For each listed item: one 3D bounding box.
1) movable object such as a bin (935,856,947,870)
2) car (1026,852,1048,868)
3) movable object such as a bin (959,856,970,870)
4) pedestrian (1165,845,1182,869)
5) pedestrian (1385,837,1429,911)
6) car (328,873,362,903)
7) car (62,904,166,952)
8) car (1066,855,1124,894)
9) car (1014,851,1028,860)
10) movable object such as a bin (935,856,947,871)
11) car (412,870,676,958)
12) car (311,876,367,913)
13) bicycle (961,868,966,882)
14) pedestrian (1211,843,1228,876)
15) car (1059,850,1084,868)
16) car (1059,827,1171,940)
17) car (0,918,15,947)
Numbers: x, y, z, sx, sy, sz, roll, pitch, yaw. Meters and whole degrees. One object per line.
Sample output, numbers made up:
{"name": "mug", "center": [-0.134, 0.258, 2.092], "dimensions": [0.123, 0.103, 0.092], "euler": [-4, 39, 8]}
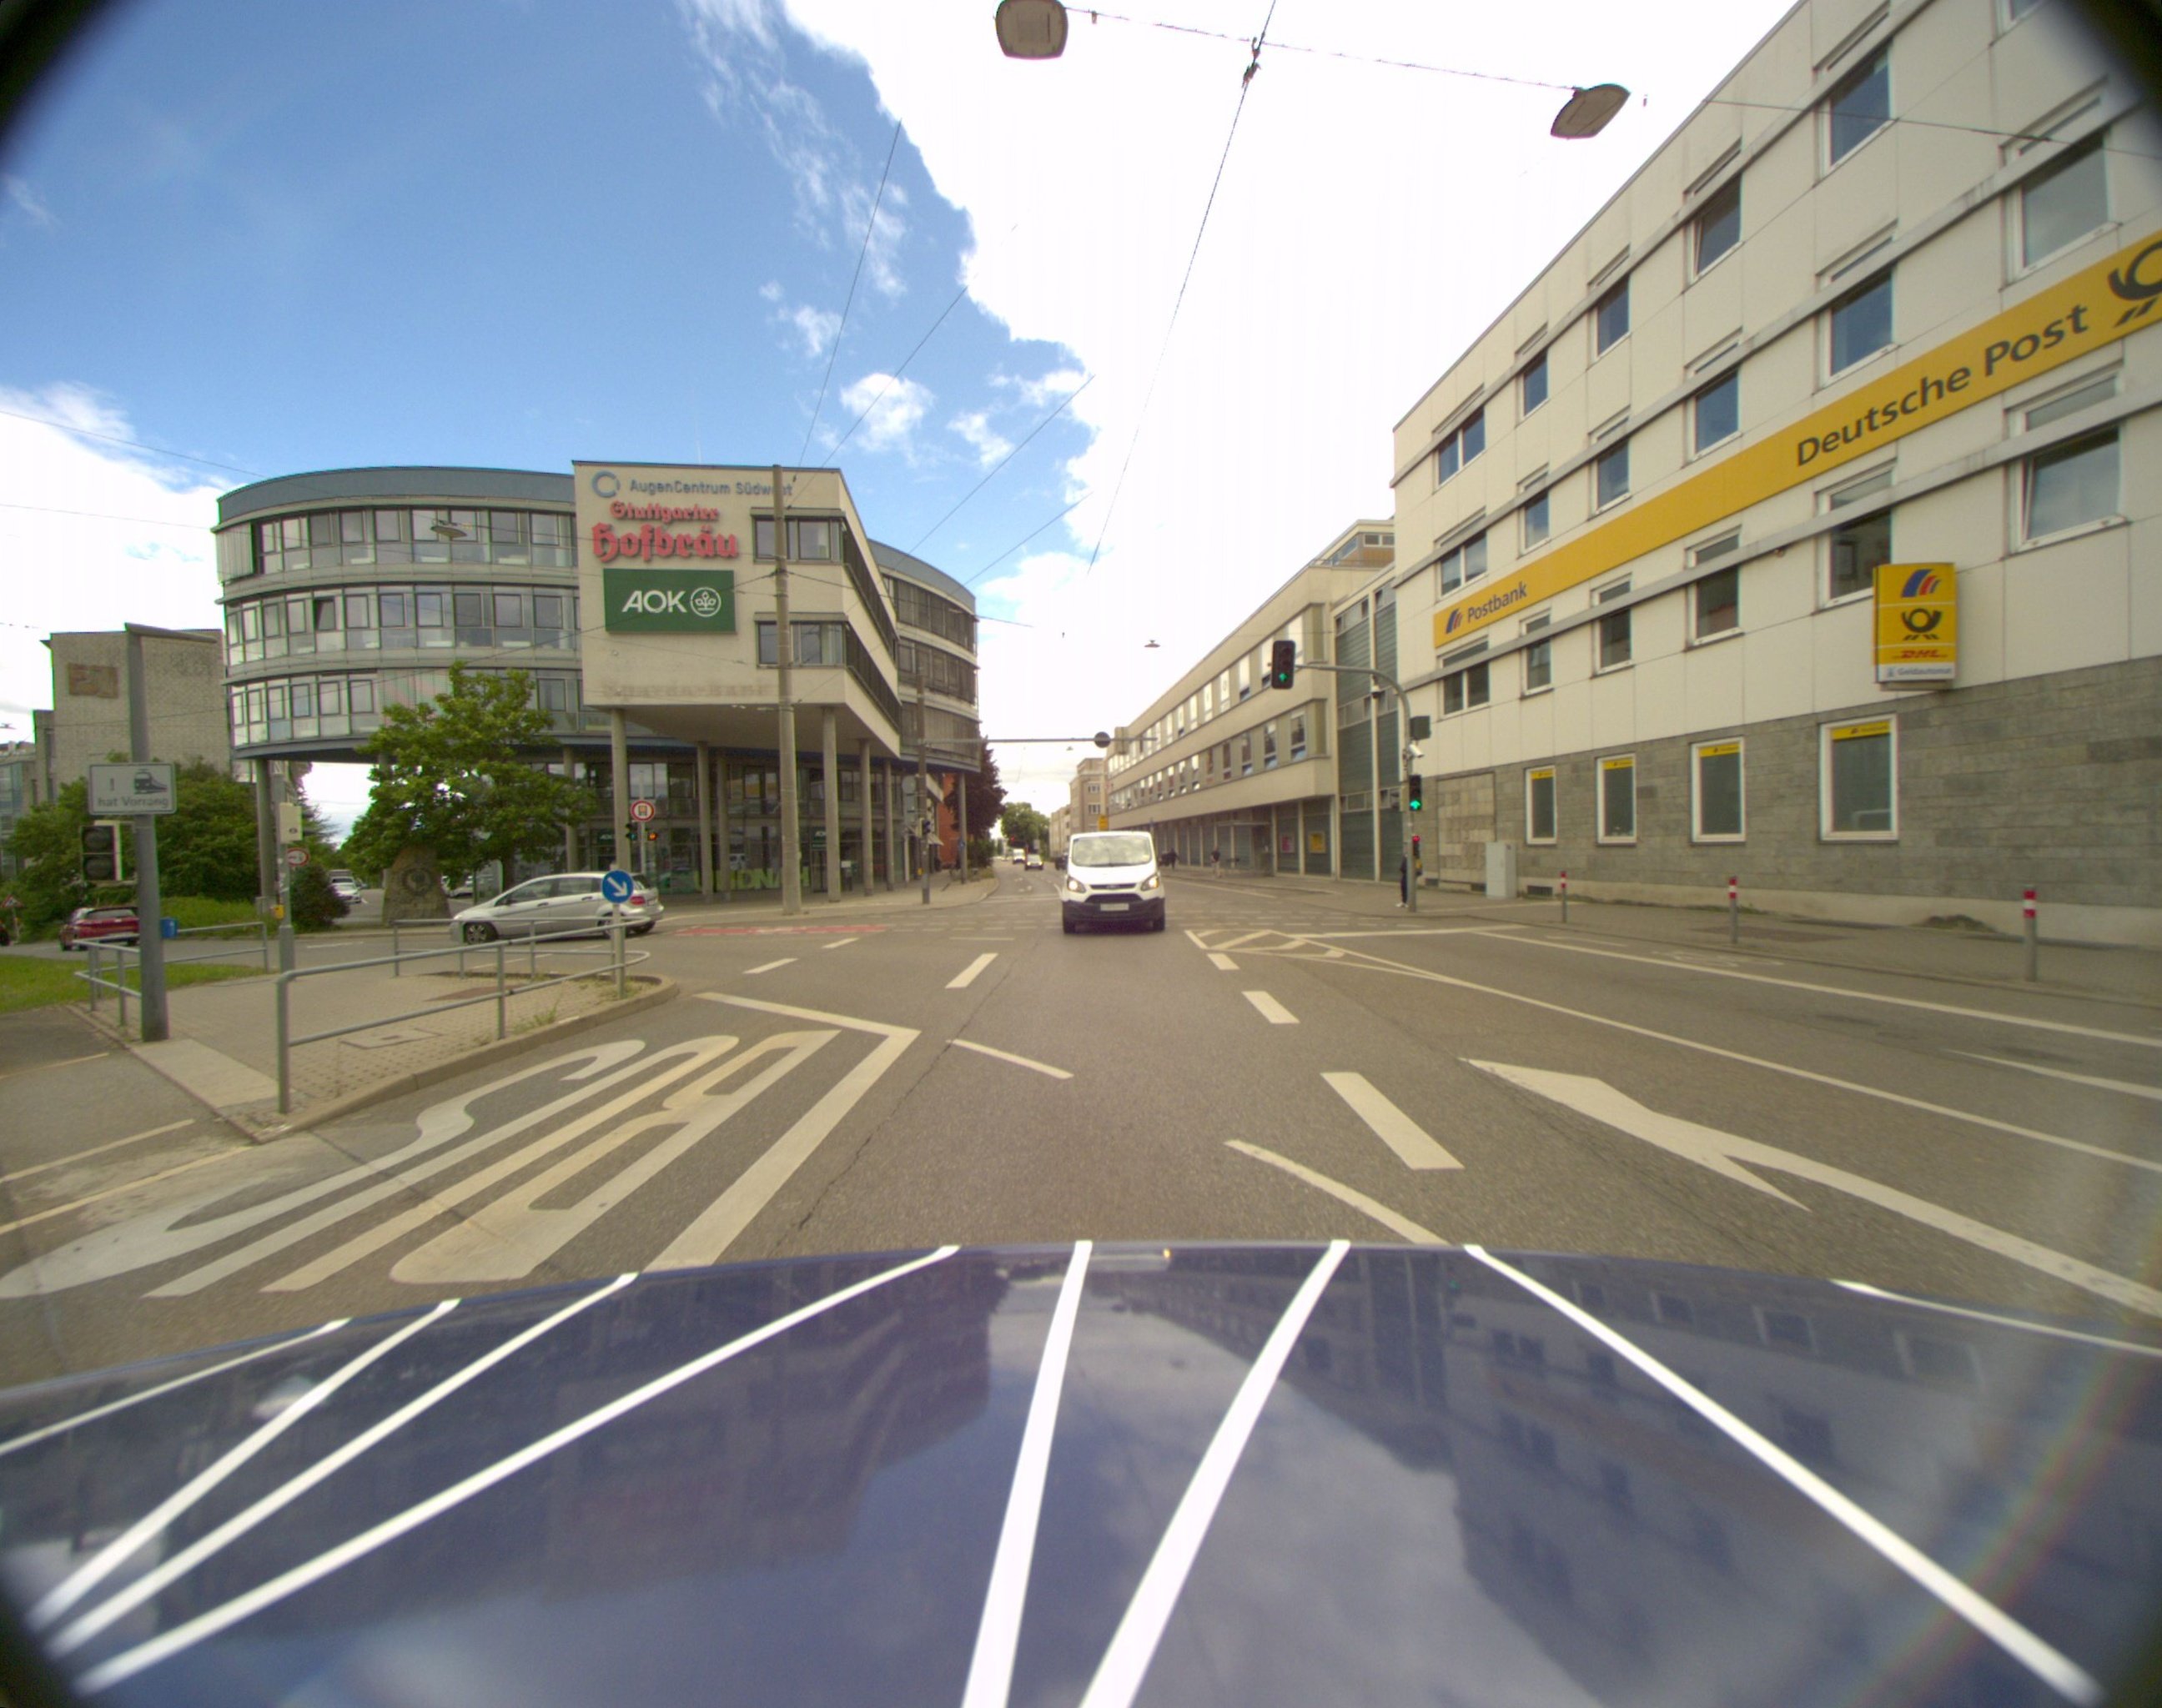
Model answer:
{"name": "movable object such as a bin", "center": [-14.226, 0.926, 77.328], "dimensions": [1.125, 1.457, 1.332], "euler": [0, 1, -8]}
{"name": "car", "center": [-4.488, 0.607, 77.122], "dimensions": [1.965, 1.517, 4.569], "euler": [-2, 0, -5]}
{"name": "movable object such as a bin", "center": [-12.163, 0.894, 79.167], "dimensions": [1.131, 1.457, 1.411], "euler": [0, 1, -8]}
{"name": "pedestrian", "center": [6.801, 0.223, 55.876], "dimensions": [0.864, 1.708, 1.031], "euler": [-3, 1, -8]}
{"name": "pedestrian", "center": [7.842, 0.473, 18.282], "dimensions": [0.649, 1.708, 0.783], "euler": [-3, 1, 1]}
{"name": "car", "center": [-76.056, 3.467, 78.520], "dimensions": [6.091, 2.814, 2.170], "euler": [-2, 1, 43]}
{"name": "car", "center": [-34.534, 2.636, 27.113], "dimensions": [3.990, 1.444, 1.707], "euler": [-4, 0, 31]}
{"name": "car", "center": [0.524, 0.825, 32.830], "dimensions": [1.965, 1.517, 4.569], "euler": [-2, 0, -5]}
{"name": "car", "center": [-10.390, 0.231, 131.416], "dimensions": [1.966, 1.517, 4.568], "euler": [-2, 0, -9]}
{"name": "movable object such as a bin", "center": [-14.027, 0.935, 75.983], "dimensions": [1.101, 1.457, 1.332], "euler": [0, 1, -8]}
{"name": "car", "center": [-12.463, 1.338, 17.988], "dimensions": [4.571, 1.537, 1.998], "euler": [-4, 1, -11]}
{"name": "car", "center": [-52.542, 2.848, 53.751], "dimensions": [6.091, 2.378, 2.170], "euler": [-2, 1, 40]}
{"name": "bicycle", "center": [-9.908, 1.796, 63.899], "dimensions": [0.362, 1.080, 2.025], "euler": [-3, 1, -8]}
{"name": "pedestrian", "center": [7.392, 0.300, 40.589], "dimensions": [0.591, 1.708, 1.054], "euler": [-2, 1, -8]}
{"name": "car", "center": [-0.915, 0.478, 72.225], "dimensions": [1.965, 1.617, 4.569], "euler": [-2, 0, -5]}
{"name": "car", "center": [0.822, 0.517, 16.250], "dimensions": [1.964, 1.986, 5.089], "euler": [-2, 0, 5]}
{"name": "car", "center": [-57.859, 4.150, 39.753], "dimensions": [3.990, 1.402, 1.743], "euler": [-2, 0, 26]}
